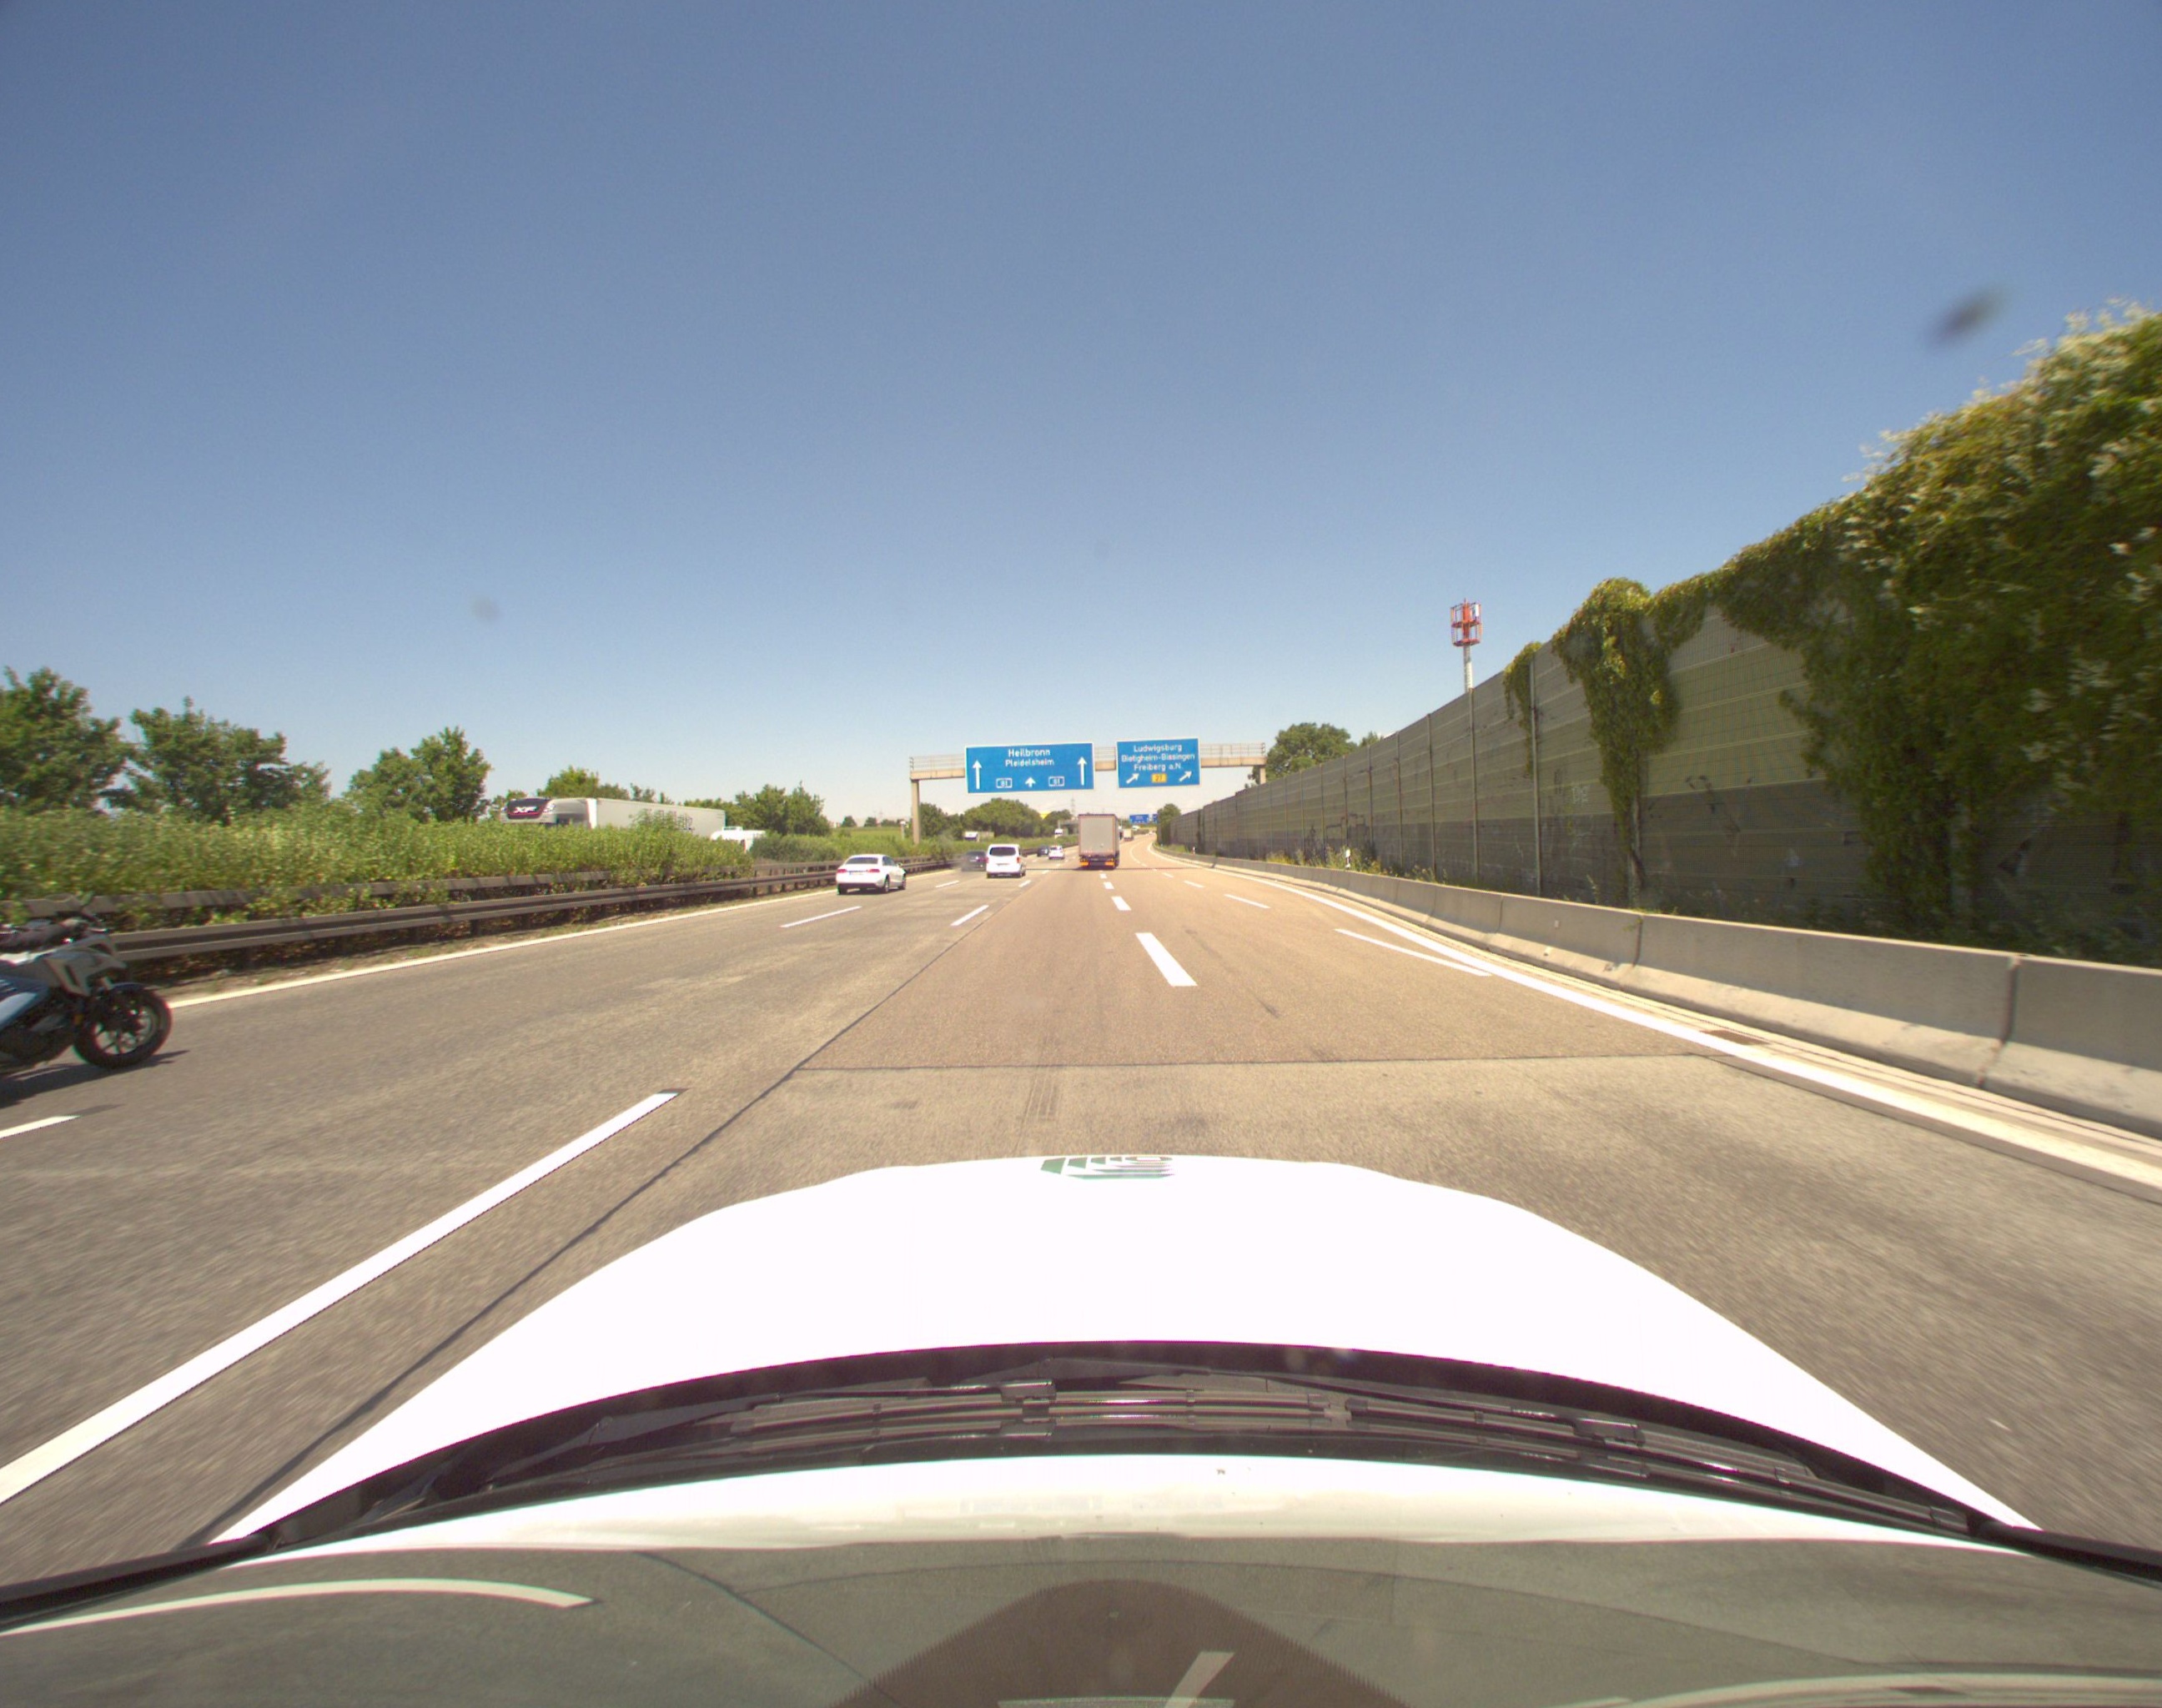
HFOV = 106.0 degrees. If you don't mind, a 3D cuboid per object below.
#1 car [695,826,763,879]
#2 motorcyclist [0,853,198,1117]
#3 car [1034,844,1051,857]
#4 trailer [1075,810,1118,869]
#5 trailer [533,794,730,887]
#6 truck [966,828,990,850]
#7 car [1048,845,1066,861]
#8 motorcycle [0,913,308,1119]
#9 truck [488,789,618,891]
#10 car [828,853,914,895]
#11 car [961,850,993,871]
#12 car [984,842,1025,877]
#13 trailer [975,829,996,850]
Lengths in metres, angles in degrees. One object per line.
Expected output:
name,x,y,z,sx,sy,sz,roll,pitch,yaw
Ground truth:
car,-19.364,-0.107,45.038,1.987,2.765,3.999,-1,0,0
motorcyclist,-7.037,0.803,5.407,0.890,1.597,1.299,-1,0,0
car,-5.508,-0.518,116.156,1.896,1.689,4.636,-1,2,4
trailer,1.257,-0.979,62.740,2.917,4.015,12.042,-1,0,2
trailer,-23.204,-0.631,43.636,2.597,4.133,14.227,-1,0,0
truck,-19.109,-2.733,152.212,2.991,3.967,10.323,0,1,1
car,-2.919,-0.086,98.695,1.897,1.851,4.633,-1,0,2
motorcycle,-7.029,1.068,5.481,0.910,1.088,2.849,-1,1,0
truck,-23.218,-0.593,36.099,2.597,4.156,4.747,-1,0,0
car,-7.858,0.688,31.026,1.870,1.440,5.126,0,0,0
car,-7.442,0.454,58.774,1.751,1.408,5.037,-1,0,-1
car,-4.280,0.300,46.475,1.925,1.851,4.690,-1,0,-1
trailer,-18.940,-2.824,161.550,2.913,3.967,8.660,0,1,1
